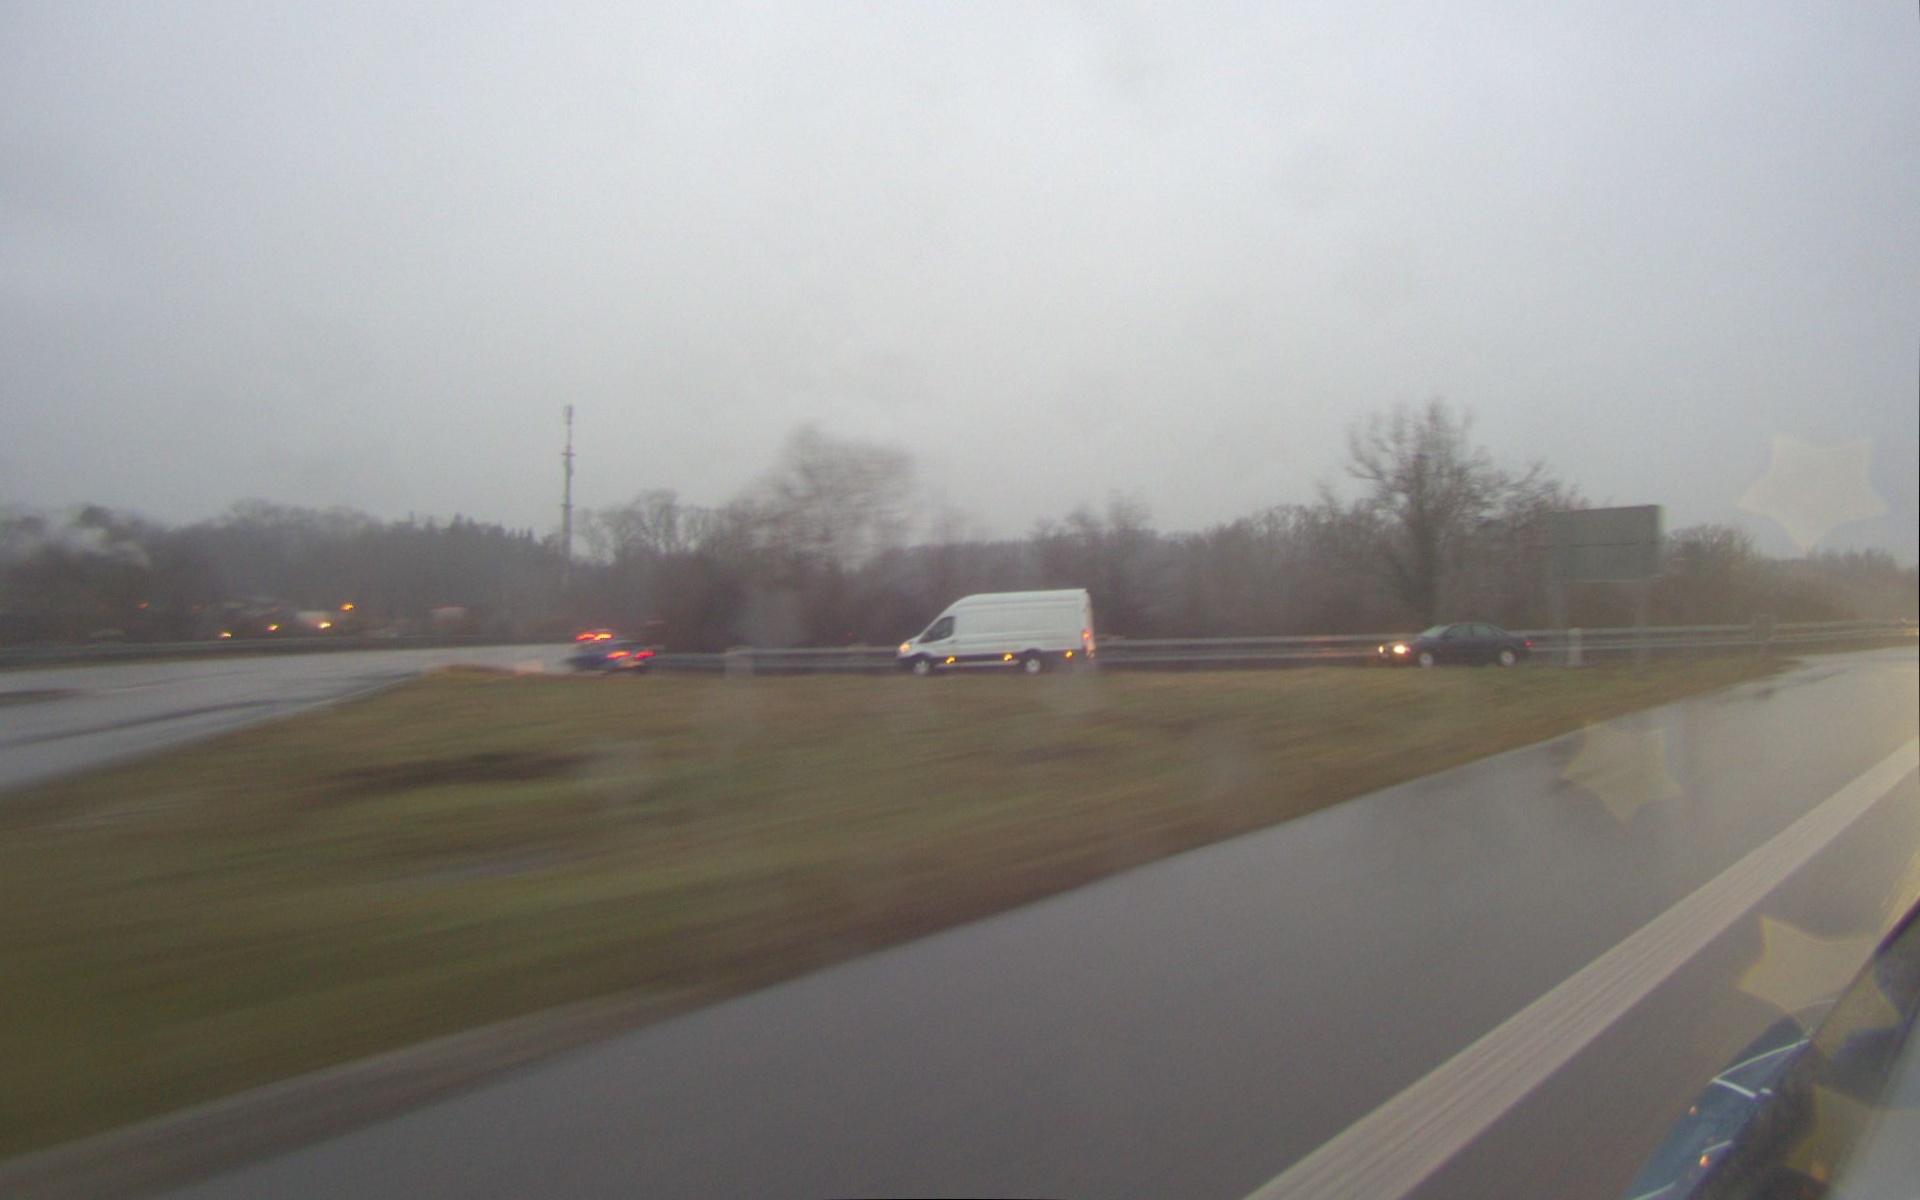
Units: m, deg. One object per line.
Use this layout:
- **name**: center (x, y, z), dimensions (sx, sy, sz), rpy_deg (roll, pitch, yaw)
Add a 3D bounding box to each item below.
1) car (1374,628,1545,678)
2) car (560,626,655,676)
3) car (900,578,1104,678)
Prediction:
- **car**: center (15.100, 1.593, 30.751), dimensions (4.292, 1.433, 1.742), rpy_deg (-1, -2, -2)
- **car**: center (-14.853, 2.089, 42.503), dimensions (1.967, 1.960, 4.894), rpy_deg (1, -2, -44)
- **car**: center (1.407, 0.958, 33.077), dimensions (6.297, 3.005, 2.278), rpy_deg (-2, -3, 15)
